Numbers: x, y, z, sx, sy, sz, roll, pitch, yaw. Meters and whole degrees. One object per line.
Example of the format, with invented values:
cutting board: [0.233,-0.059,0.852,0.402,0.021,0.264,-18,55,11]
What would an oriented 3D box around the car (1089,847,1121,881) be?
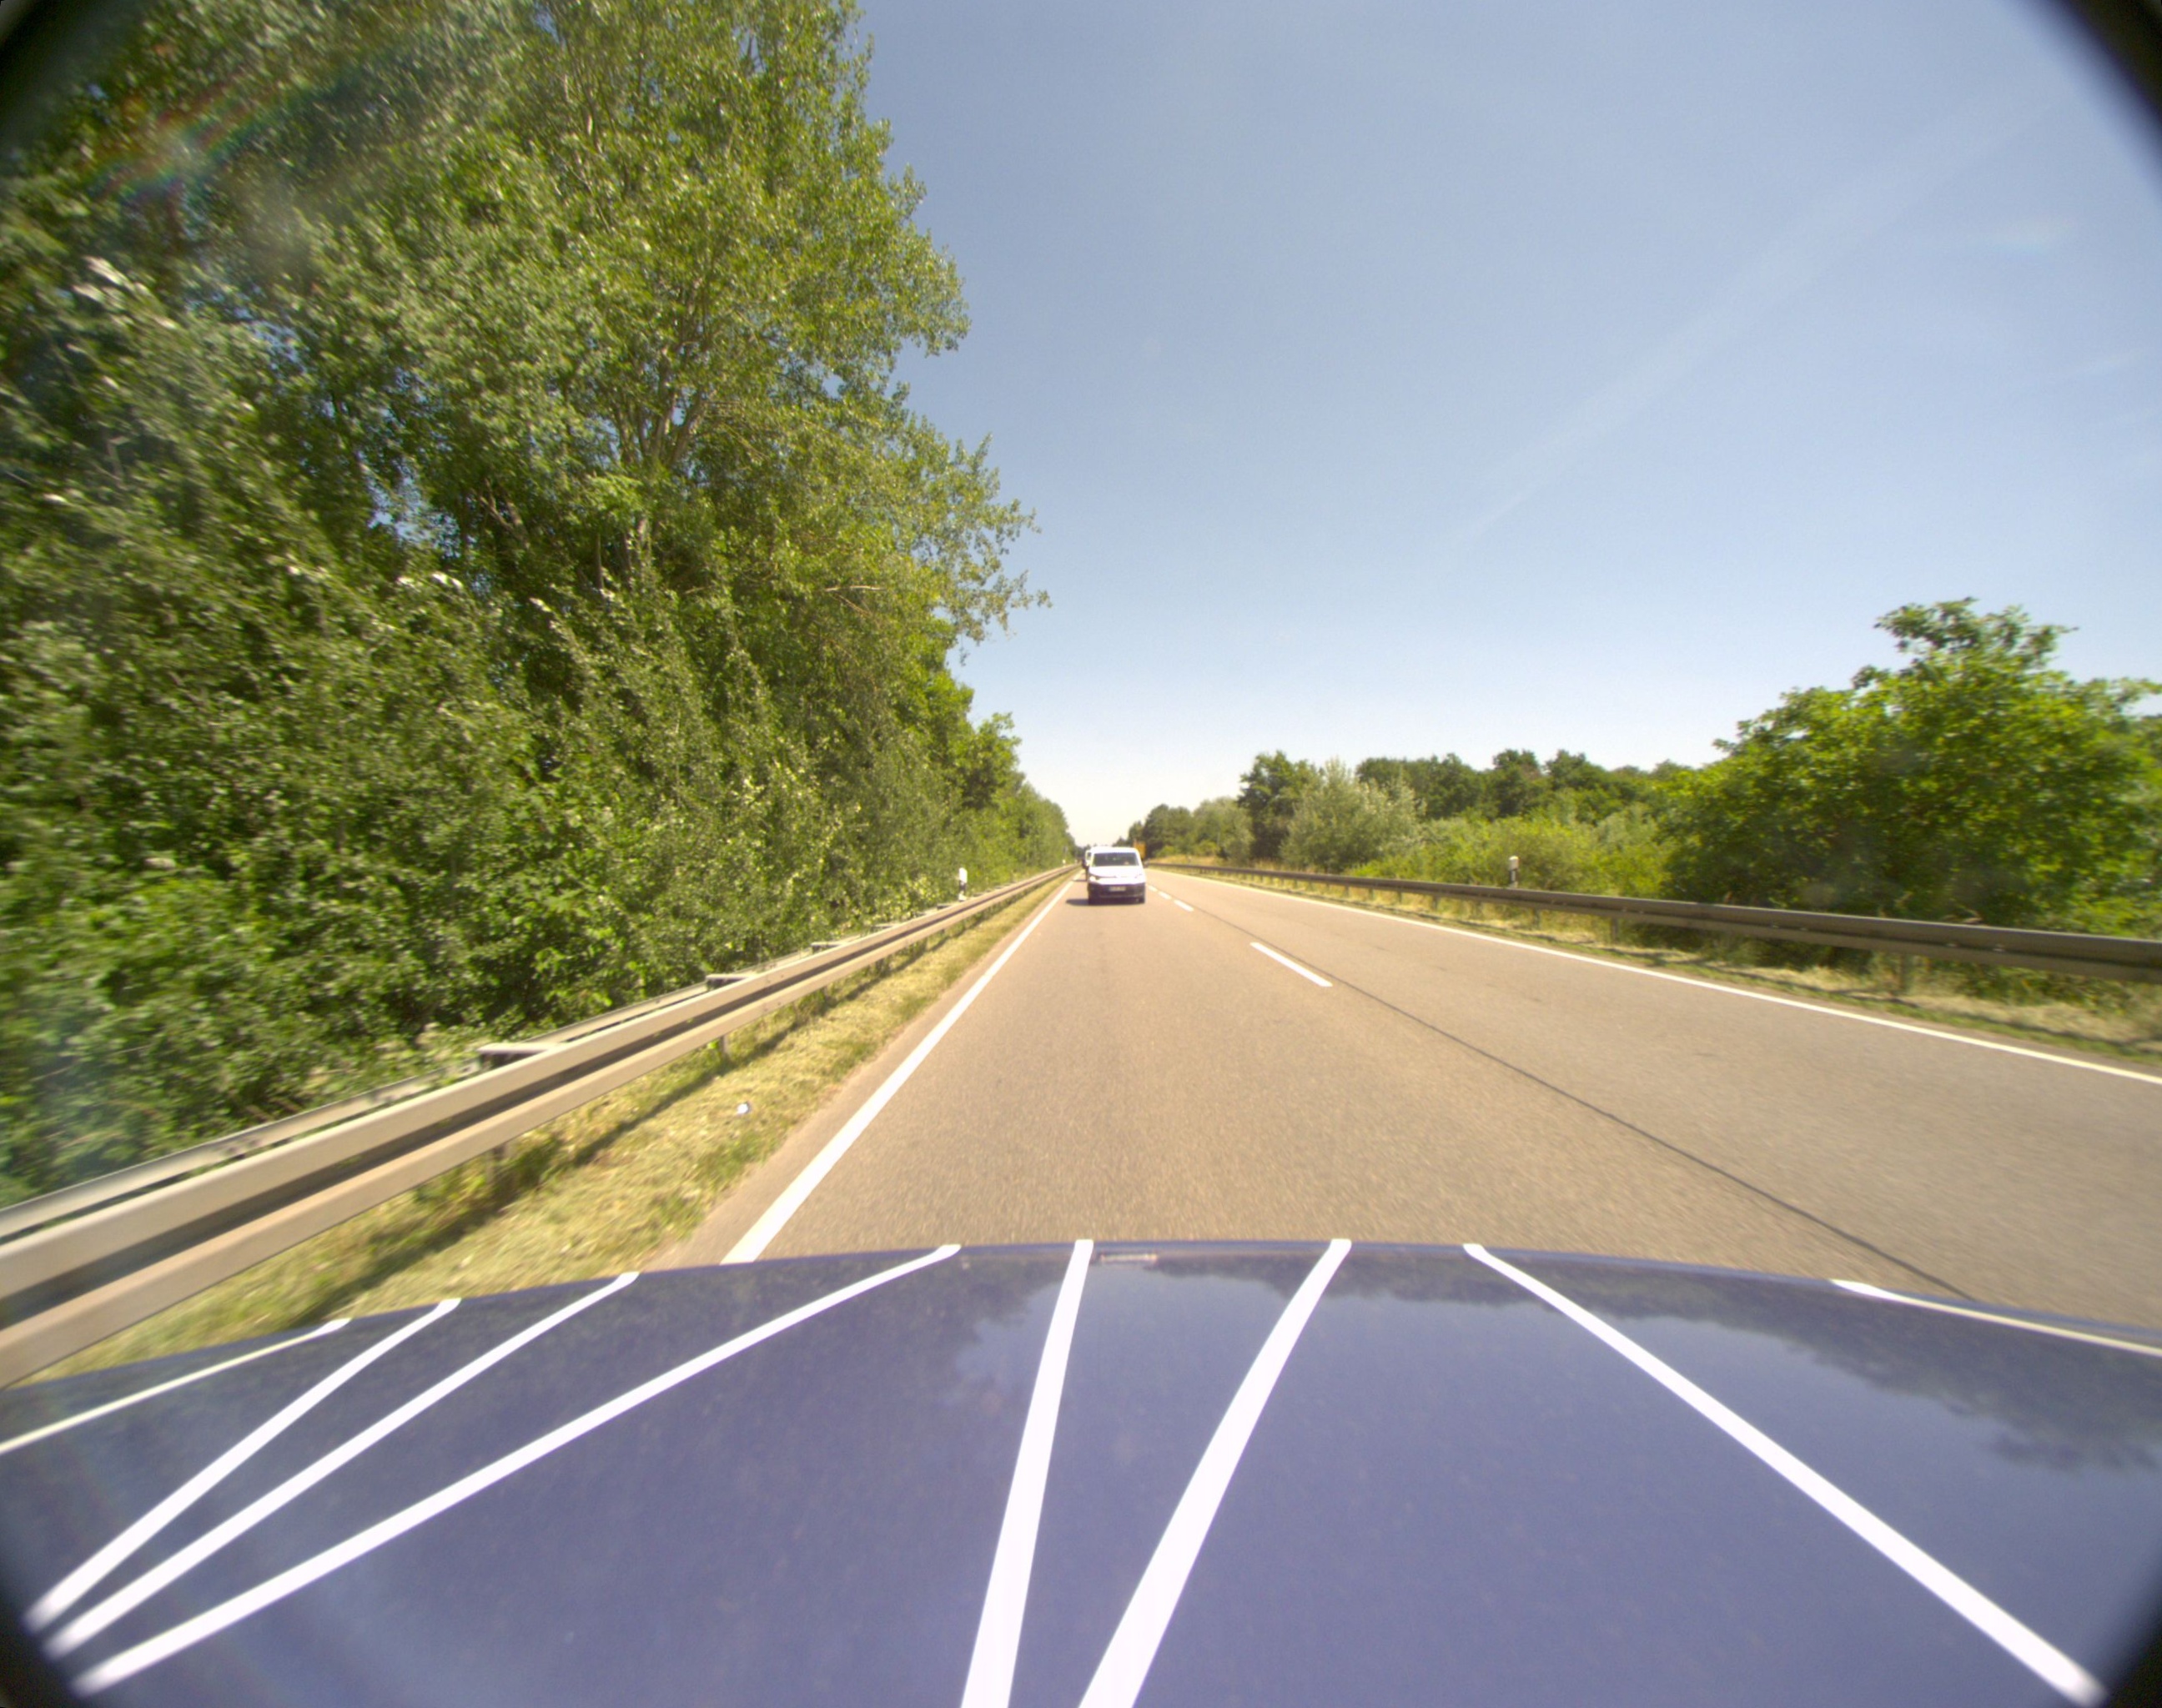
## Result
car: [1.431,0.583,46.203,1.782,1.960,4.106,-2,0,1]

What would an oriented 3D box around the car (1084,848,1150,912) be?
car: [1.052,0.731,23.439,1.782,1.743,4.512,-2,0,1]

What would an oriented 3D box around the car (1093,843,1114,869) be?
car: [2.085,0.182,70.357,1.782,2.287,4.106,-2,0,1]
